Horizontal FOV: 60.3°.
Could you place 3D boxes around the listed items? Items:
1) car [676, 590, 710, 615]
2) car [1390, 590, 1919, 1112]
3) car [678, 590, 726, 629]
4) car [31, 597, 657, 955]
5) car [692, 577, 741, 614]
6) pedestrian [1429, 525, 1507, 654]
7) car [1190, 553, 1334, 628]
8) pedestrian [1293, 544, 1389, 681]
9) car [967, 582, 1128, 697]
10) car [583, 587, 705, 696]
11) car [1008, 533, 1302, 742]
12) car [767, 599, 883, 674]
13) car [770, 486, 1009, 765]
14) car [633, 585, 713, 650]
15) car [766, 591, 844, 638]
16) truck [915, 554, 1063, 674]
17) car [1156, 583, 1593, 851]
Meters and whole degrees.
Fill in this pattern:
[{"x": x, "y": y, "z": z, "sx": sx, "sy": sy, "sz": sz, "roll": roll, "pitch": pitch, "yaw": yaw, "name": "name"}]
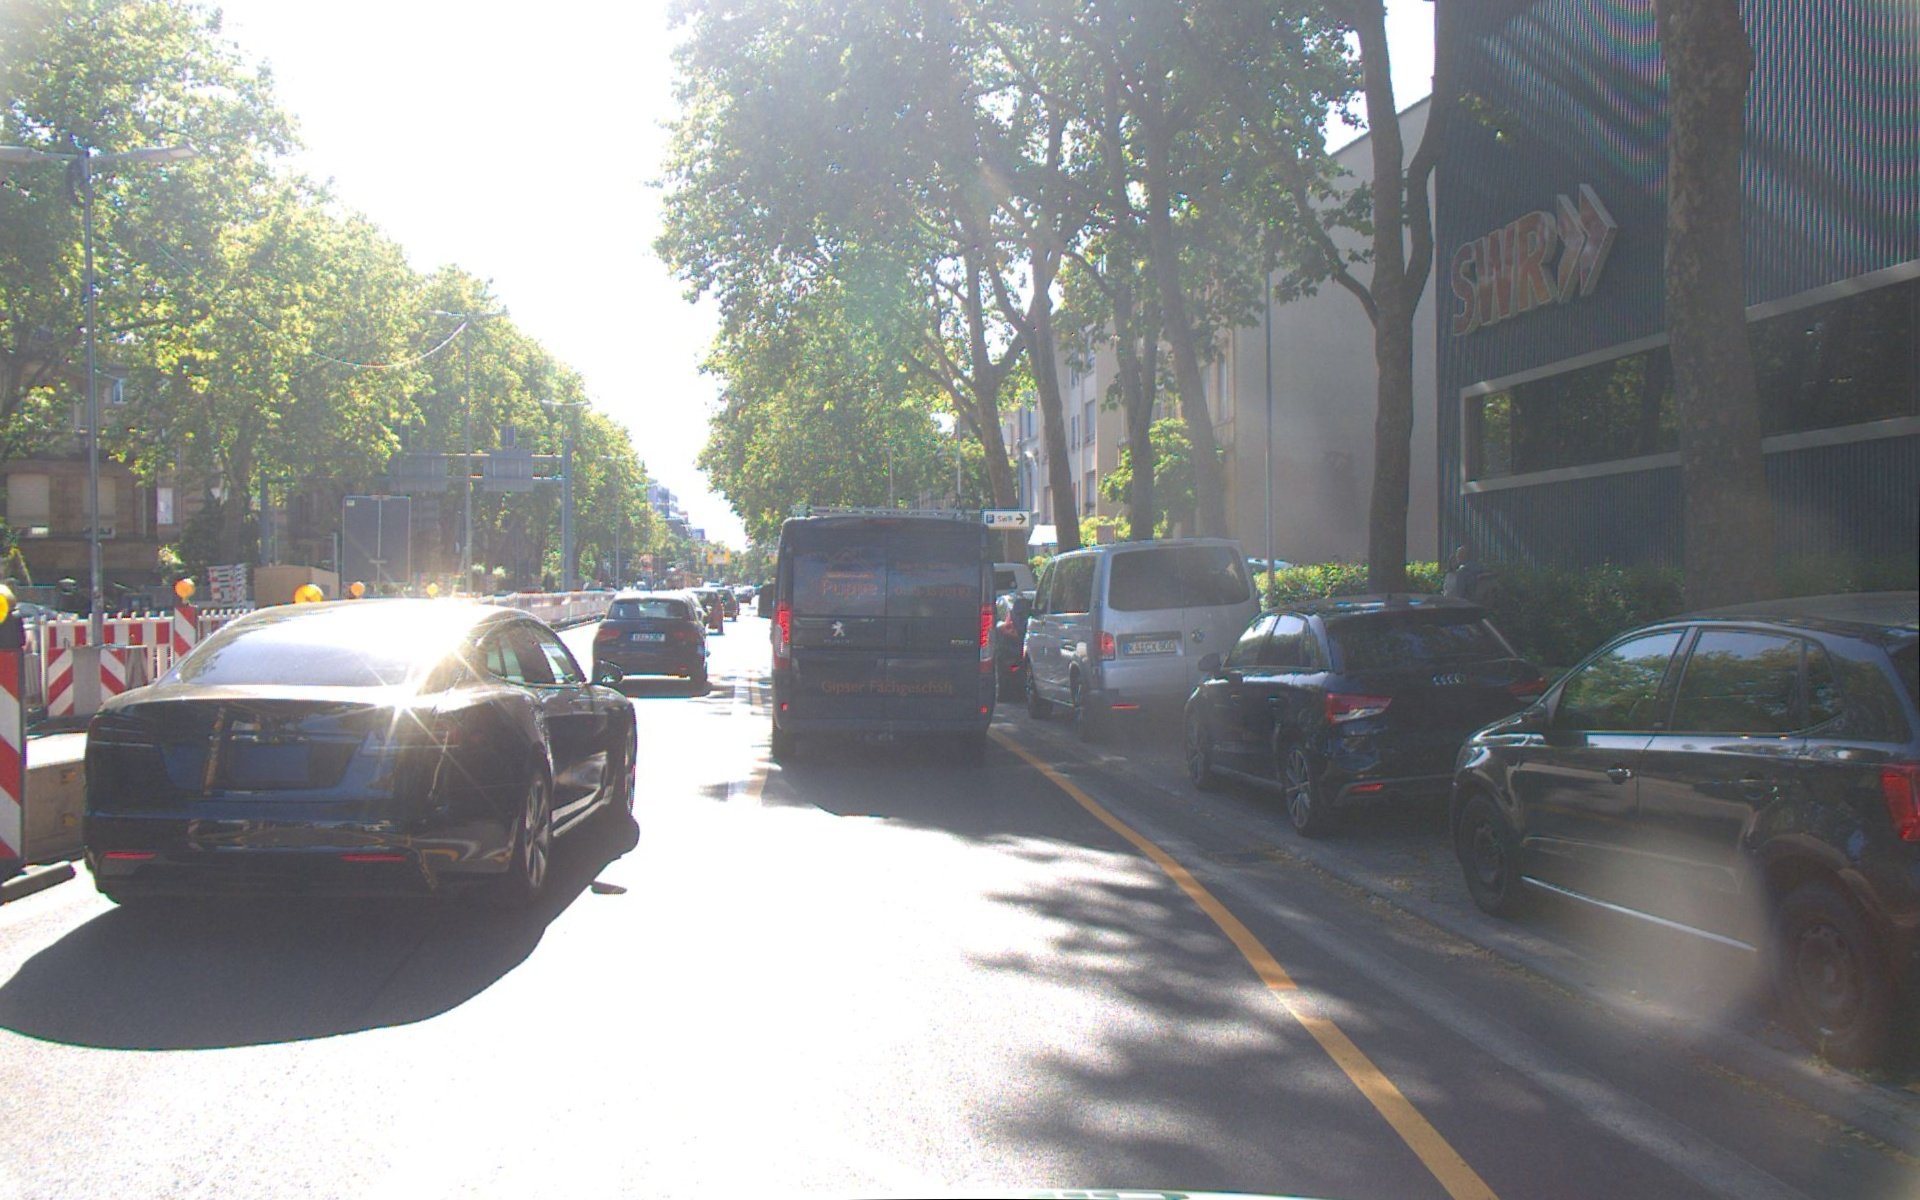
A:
[{"x": -17.237, "y": 0.164, "z": 106.818, "sx": 1.955, "sy": 1.495, "sz": 3.995, "roll": 1, "pitch": 1, "yaw": -7, "name": "car"}, {"x": 3.437, "y": 0.728, "z": 6.875, "sx": 1.730, "sy": 1.534, "sz": 4.244, "roll": 0, "pitch": 0, "yaw": -8, "name": "car"}, {"x": -8.572, "y": 0.305, "z": 55.085, "sx": 1.394, "sy": 1.246, "sz": 3.433, "roll": -1, "pitch": 0, "yaw": -6, "name": "car"}, {"x": -2.943, "y": 0.711, "z": 9.098, "sx": 1.886, "sy": 1.436, "sz": 4.623, "roll": 0, "pitch": 0, "yaw": -3, "name": "car"}, {"x": -11.011, "y": -0.200, "z": 75.051, "sx": 1.955, "sy": 1.616, "sz": 3.996, "roll": -1, "pitch": 0, "yaw": -5, "name": "car"}, {"x": 6.850, "y": -0.151, "z": 22.318, "sx": 0.693, "sy": 1.677, "sz": 0.673, "roll": 2, "pitch": 2, "yaw": -11, "name": "pedestrian"}, {"x": 7.892, "y": -0.251, "z": 43.364, "sx": 1.694, "sy": 1.885, "sz": 3.457, "roll": 0, "pitch": 0, "yaw": -40, "name": "car"}, {"x": 4.663, "y": 0.142, "z": 20.303, "sx": 0.714, "sy": 1.630, "sz": 1.264, "roll": 0, "pitch": 0, "yaw": -10, "name": "pedestrian"}, {"x": 1.183, "y": 0.514, "z": 24.127, "sx": 1.714, "sy": 1.503, "sz": 4.096, "roll": -1, "pitch": 0, "yaw": -6, "name": "car"}, {"x": -4.852, "y": 0.587, "z": 25.759, "sx": 1.714, "sy": 1.431, "sz": 3.992, "roll": 1, "pitch": 2, "yaw": -9, "name": "car"}, {"x": 1.958, "y": 0.333, "z": 18.440, "sx": 1.988, "sy": 1.980, "sz": 5.264, "roll": 0, "pitch": 0, "yaw": -8, "name": "car"}, {"x": -2.588, "y": 0.626, "z": 30.873, "sx": 1.883, "sy": 1.271, "sz": 3.992, "roll": -1, "pitch": 0, "yaw": -9, "name": "car"}, {"x": -0.811, "y": 0.189, "z": 16.242, "sx": 2.055, "sy": 2.396, "sz": 3.928, "roll": 0, "pitch": 1, "yaw": -6, "name": "car"}, {"x": -6.624, "y": 0.386, "z": 38.494, "sx": 1.517, "sy": 1.450, "sz": 3.551, "roll": 1, "pitch": 0, "yaw": -5, "name": "car"}, {"x": -4.417, "y": 0.385, "z": 46.706, "sx": 1.956, "sy": 1.271, "sz": 3.992, "roll": 0, "pitch": 0, "yaw": -9, "name": "car"}, {"x": 0.419, "y": 0.212, "z": 29.269, "sx": 1.842, "sy": 1.914, "sz": 4.444, "roll": -1, "pitch": 0, "yaw": -9, "name": "truck"}, {"x": 2.705, "y": 0.678, "z": 11.803, "sx": 1.626, "sy": 1.567, "sz": 4.121, "roll": 0, "pitch": 0, "yaw": -8, "name": "car"}]
